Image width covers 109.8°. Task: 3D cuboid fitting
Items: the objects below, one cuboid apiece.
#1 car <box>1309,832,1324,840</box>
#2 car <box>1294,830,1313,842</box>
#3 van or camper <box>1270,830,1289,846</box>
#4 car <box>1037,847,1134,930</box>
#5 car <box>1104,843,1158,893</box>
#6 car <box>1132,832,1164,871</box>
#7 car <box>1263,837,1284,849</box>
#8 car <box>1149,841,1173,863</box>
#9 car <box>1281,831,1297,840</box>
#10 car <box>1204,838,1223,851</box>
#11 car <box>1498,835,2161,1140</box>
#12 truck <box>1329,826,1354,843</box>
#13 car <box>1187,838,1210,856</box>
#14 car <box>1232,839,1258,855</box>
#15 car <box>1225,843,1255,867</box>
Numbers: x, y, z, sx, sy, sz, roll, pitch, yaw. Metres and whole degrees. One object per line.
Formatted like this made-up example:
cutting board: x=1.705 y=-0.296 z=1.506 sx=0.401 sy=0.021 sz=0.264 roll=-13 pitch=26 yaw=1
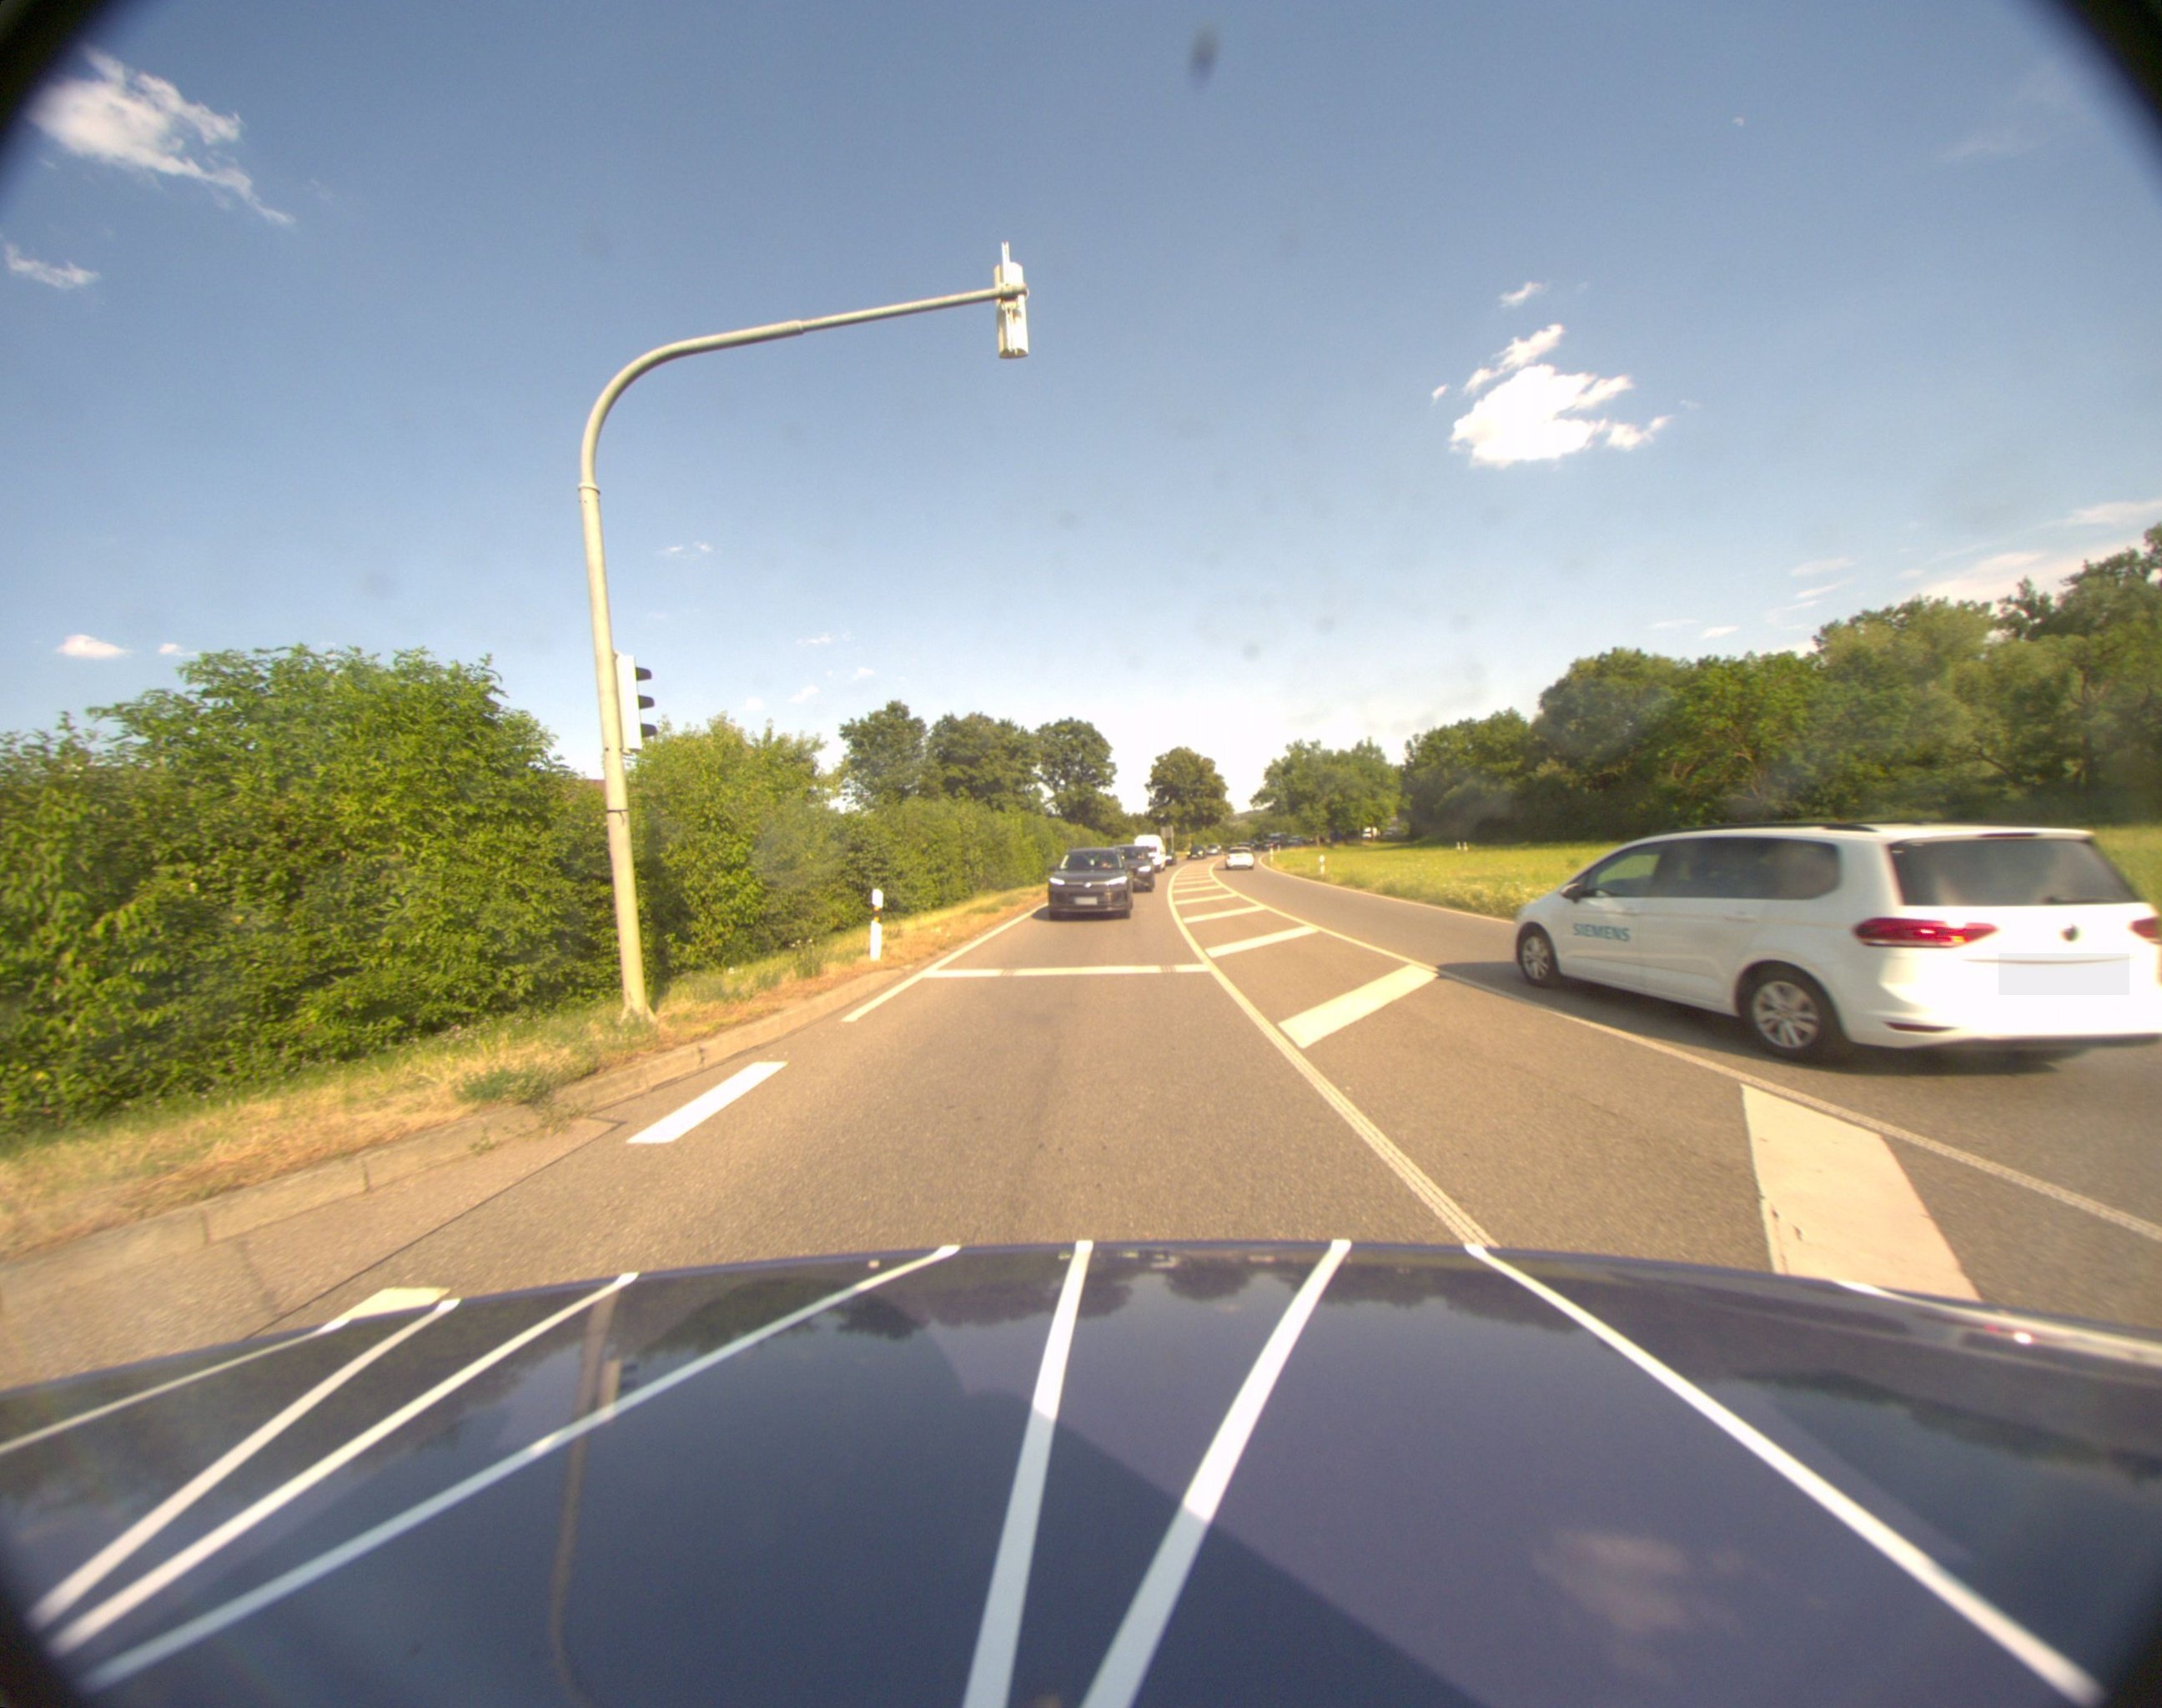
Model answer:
car: x=48.730 y=-3.728 z=157.003 sx=1.995 sy=1.543 sz=4.006 roll=-5 pitch=1 yaw=30
car: x=38.926 y=-3.122 z=132.675 sx=1.995 sy=1.846 sz=4.006 roll=-5 pitch=1 yaw=33
van or camper: x=35.148 y=-2.830 z=134.692 sx=2.030 sy=2.461 sz=5.085 roll=-4 pitch=0 yaw=27
car: x=0.224 y=0.680 z=17.473 sx=1.865 sy=1.633 sz=4.001 roll=-1 pitch=1 yaw=5
car: x=1.916 y=0.486 z=28.317 sx=1.658 sy=1.720 sz=3.807 roll=-1 pitch=0 yaw=8
car: x=4.307 y=-0.178 z=48.140 sx=1.843 sy=2.338 sz=4.790 roll=-1 pitch=1 yaw=6
car: x=27.945 y=-1.593 z=110.048 sx=1.995 sy=1.543 sz=4.006 roll=-5 pitch=0 yaw=27
car: x=6.553 y=-0.194 z=62.031 sx=1.692 sy=1.718 sz=3.670 roll=-1 pitch=1 yaw=10
car: x=39.270 y=-3.484 z=143.535 sx=1.995 sy=1.543 sz=4.006 roll=-5 pitch=1 yaw=29
car: x=16.878 y=-1.180 z=96.859 sx=1.632 sy=1.550 sz=3.422 roll=0 pitch=2 yaw=23
car: x=5.577 y=0.708 z=6.180 sx=1.885 sy=1.577 sz=4.329 roll=-1 pitch=0 yaw=-1
truck: x=53.001 y=-3.978 z=154.415 sx=2.918 sy=3.194 sz=6.693 roll=-4 pitch=0 yaw=33
car: x=12.311 y=-0.725 z=79.410 sx=1.671 sy=1.718 sz=3.673 roll=-1 pitch=1 yaw=20
car: x=16.731 y=-0.704 z=77.283 sx=1.929 sy=1.577 sz=4.079 roll=-1 pitch=1 yaw=21
car: x=10.256 y=0.053 z=48.845 sx=1.748 sy=1.458 sz=3.482 roll=-1 pitch=1 yaw=13
